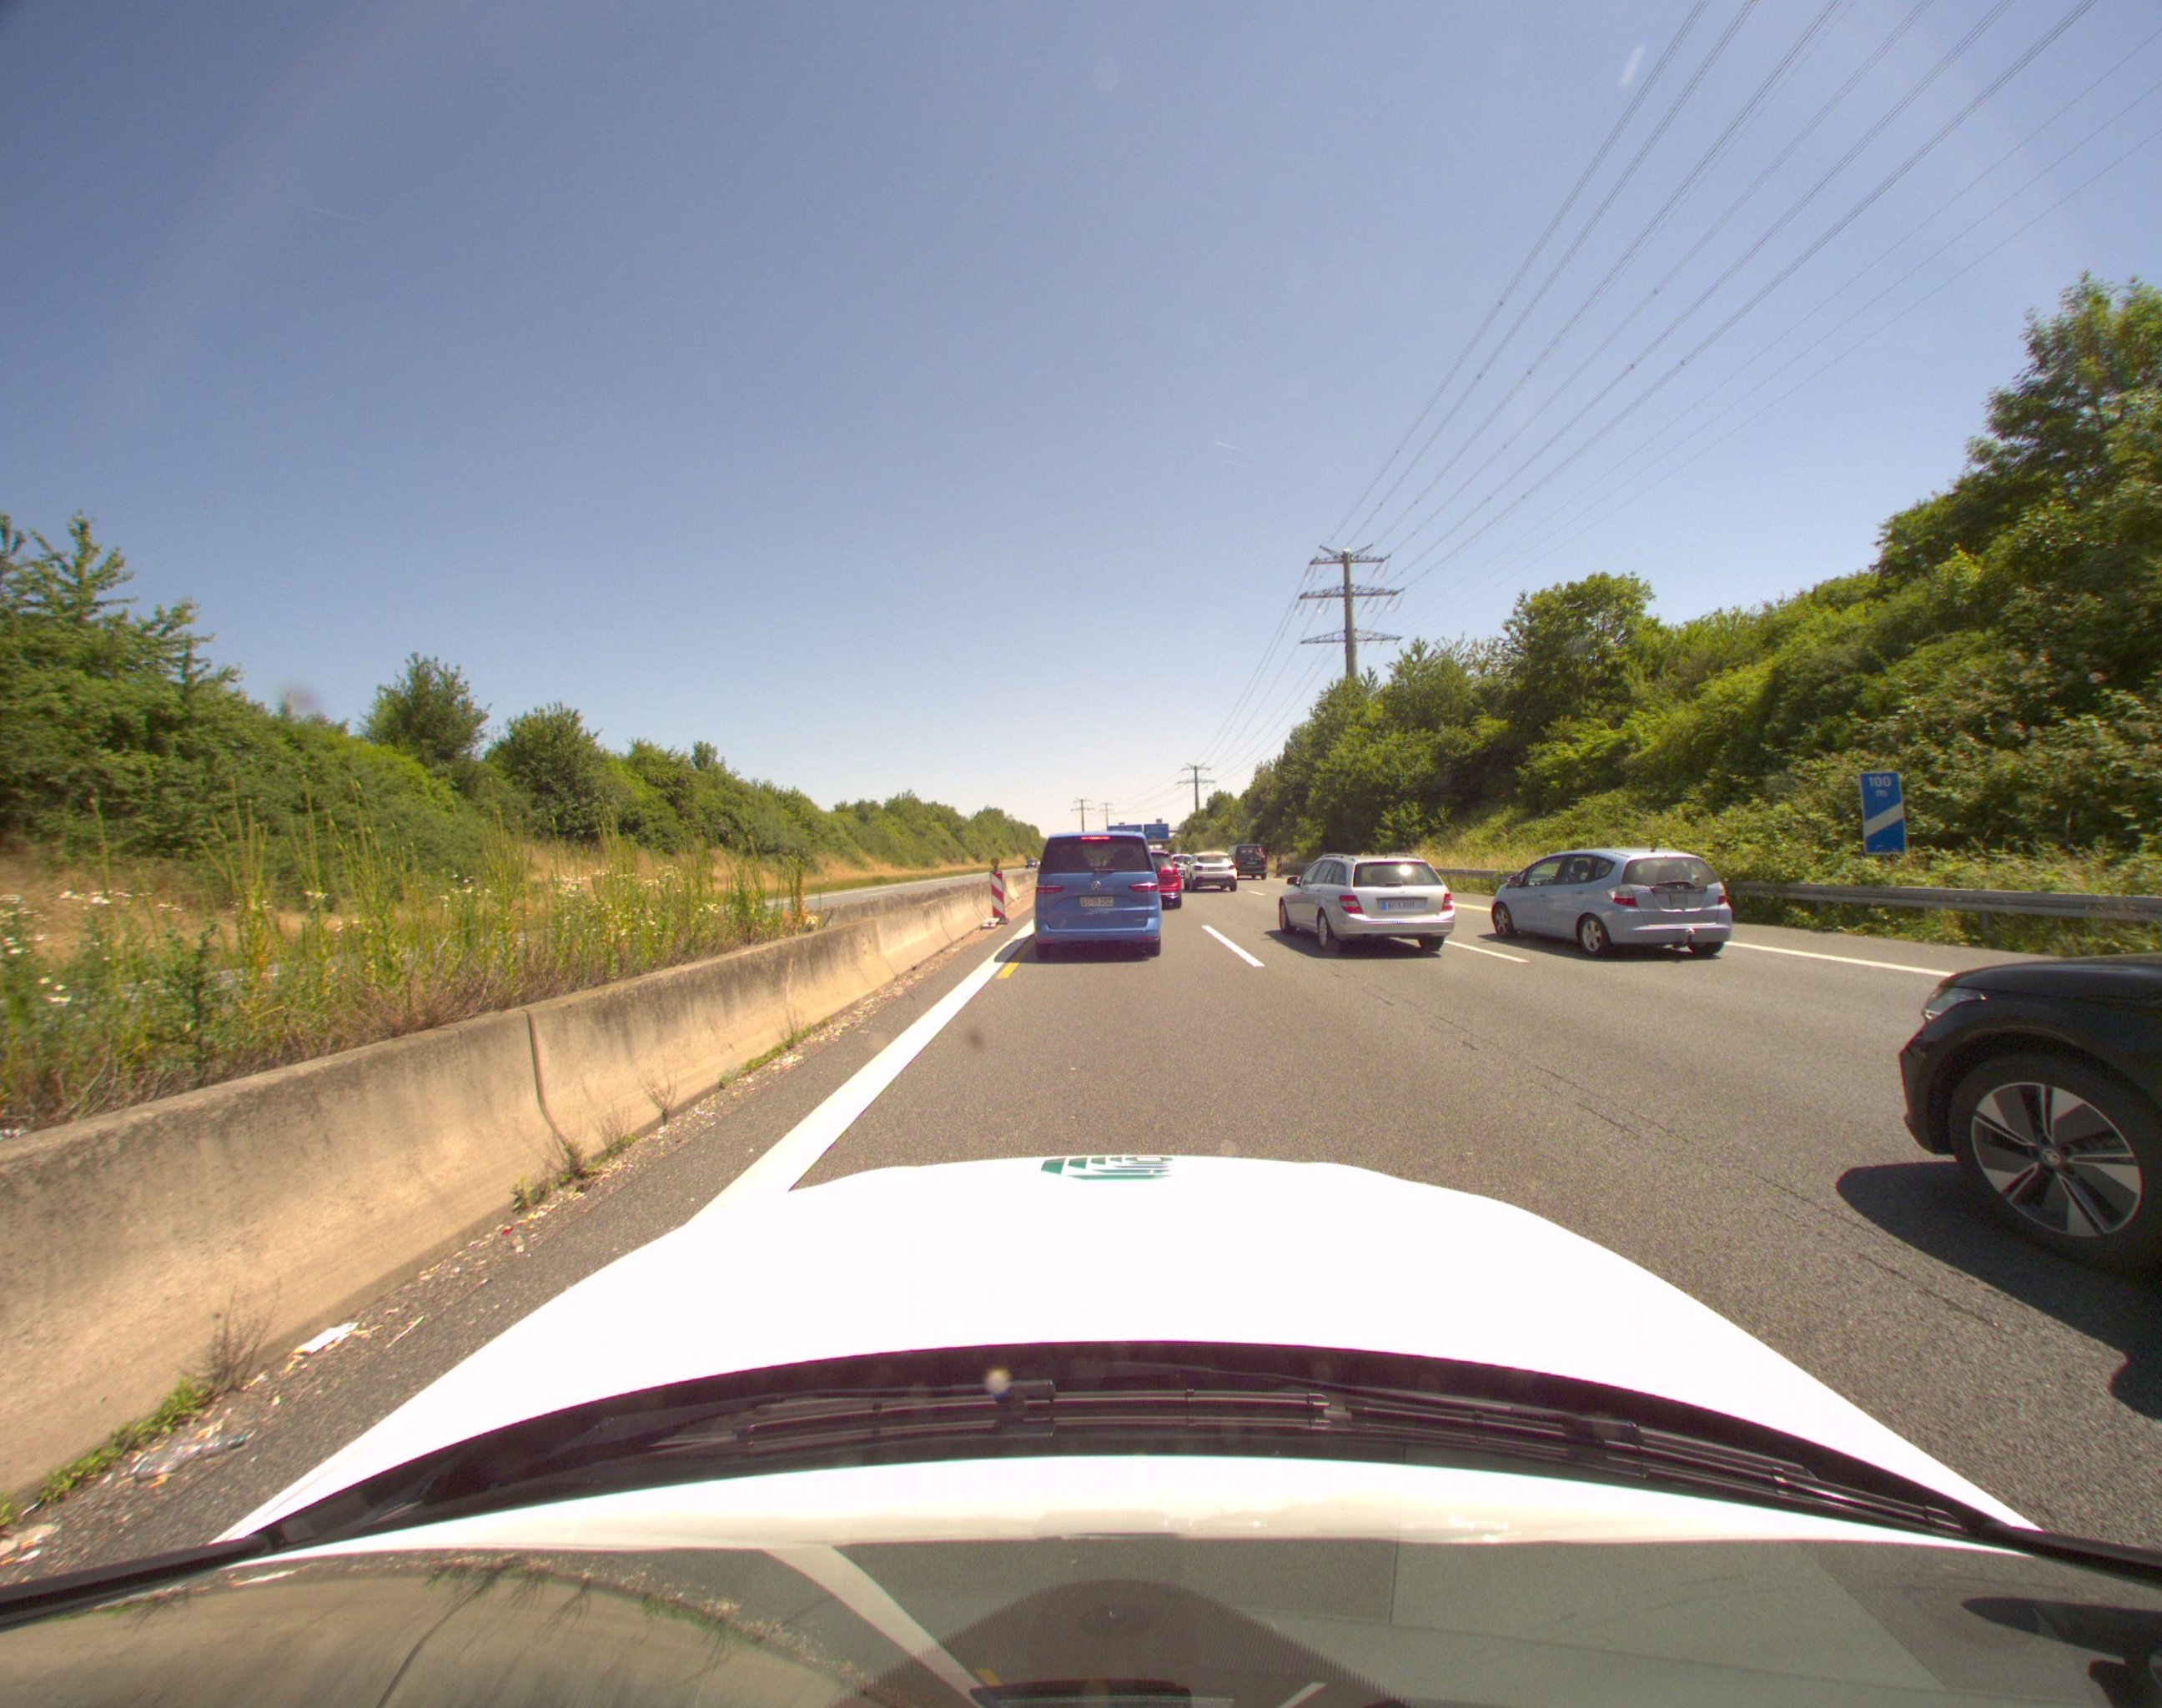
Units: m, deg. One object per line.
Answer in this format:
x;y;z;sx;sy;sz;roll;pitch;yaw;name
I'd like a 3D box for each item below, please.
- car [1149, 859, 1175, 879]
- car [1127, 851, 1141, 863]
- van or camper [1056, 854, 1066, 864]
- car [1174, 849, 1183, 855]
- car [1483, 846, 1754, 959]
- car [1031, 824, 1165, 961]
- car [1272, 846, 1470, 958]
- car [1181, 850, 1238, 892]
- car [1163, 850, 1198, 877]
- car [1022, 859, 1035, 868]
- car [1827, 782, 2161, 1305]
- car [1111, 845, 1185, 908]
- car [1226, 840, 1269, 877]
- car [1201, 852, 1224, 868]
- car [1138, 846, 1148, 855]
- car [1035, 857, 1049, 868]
6.533;1.208;66.186;1.791;1.594;4.228;0;0;2;car
7.538;0.403;115.513;1.791;1.594;4.228;0;0;2;car
-5.802;1.348;237.850;2.215;2.710;7.081;-4;0;1;van or camper
24.926;-0.474;208.077;1.868;1.671;4.360;0;0;1;car
7.830;0.633;12.349;1.694;1.448;3.789;0;0;2;car
0.279;0.550;13.595;1.868;1.912;4.360;0;0;1;car
4.487;0.668;13.340;1.764;1.517;4.360;0;0;1;car
5.135;0.658;32.977;1.791;1.594;4.228;0;0;2;car
6.261;0.594;51.540;1.791;1.594;4.228;0;0;2;car
-9.889;1.778;154.273;1.986;1.650;4.632;-4;0;2;car
4.247;0.588;1.523;1.695;1.655;4.430;0;0;1;car
1.866;0.610;23.821;1.868;1.671;4.360;0;0;1;car
9.409;0.265;46.280;1.790;2.014;4.229;0;0;3;car
13.750;0.628;85.305;1.791;1.594;4.228;0;0;2;car
17.151;-0.909;225.657;2.368;2.428;4.228;0;0;2;car
-6.616;1.408;139.086;1.986;1.662;4.231;-3;0;2;car
